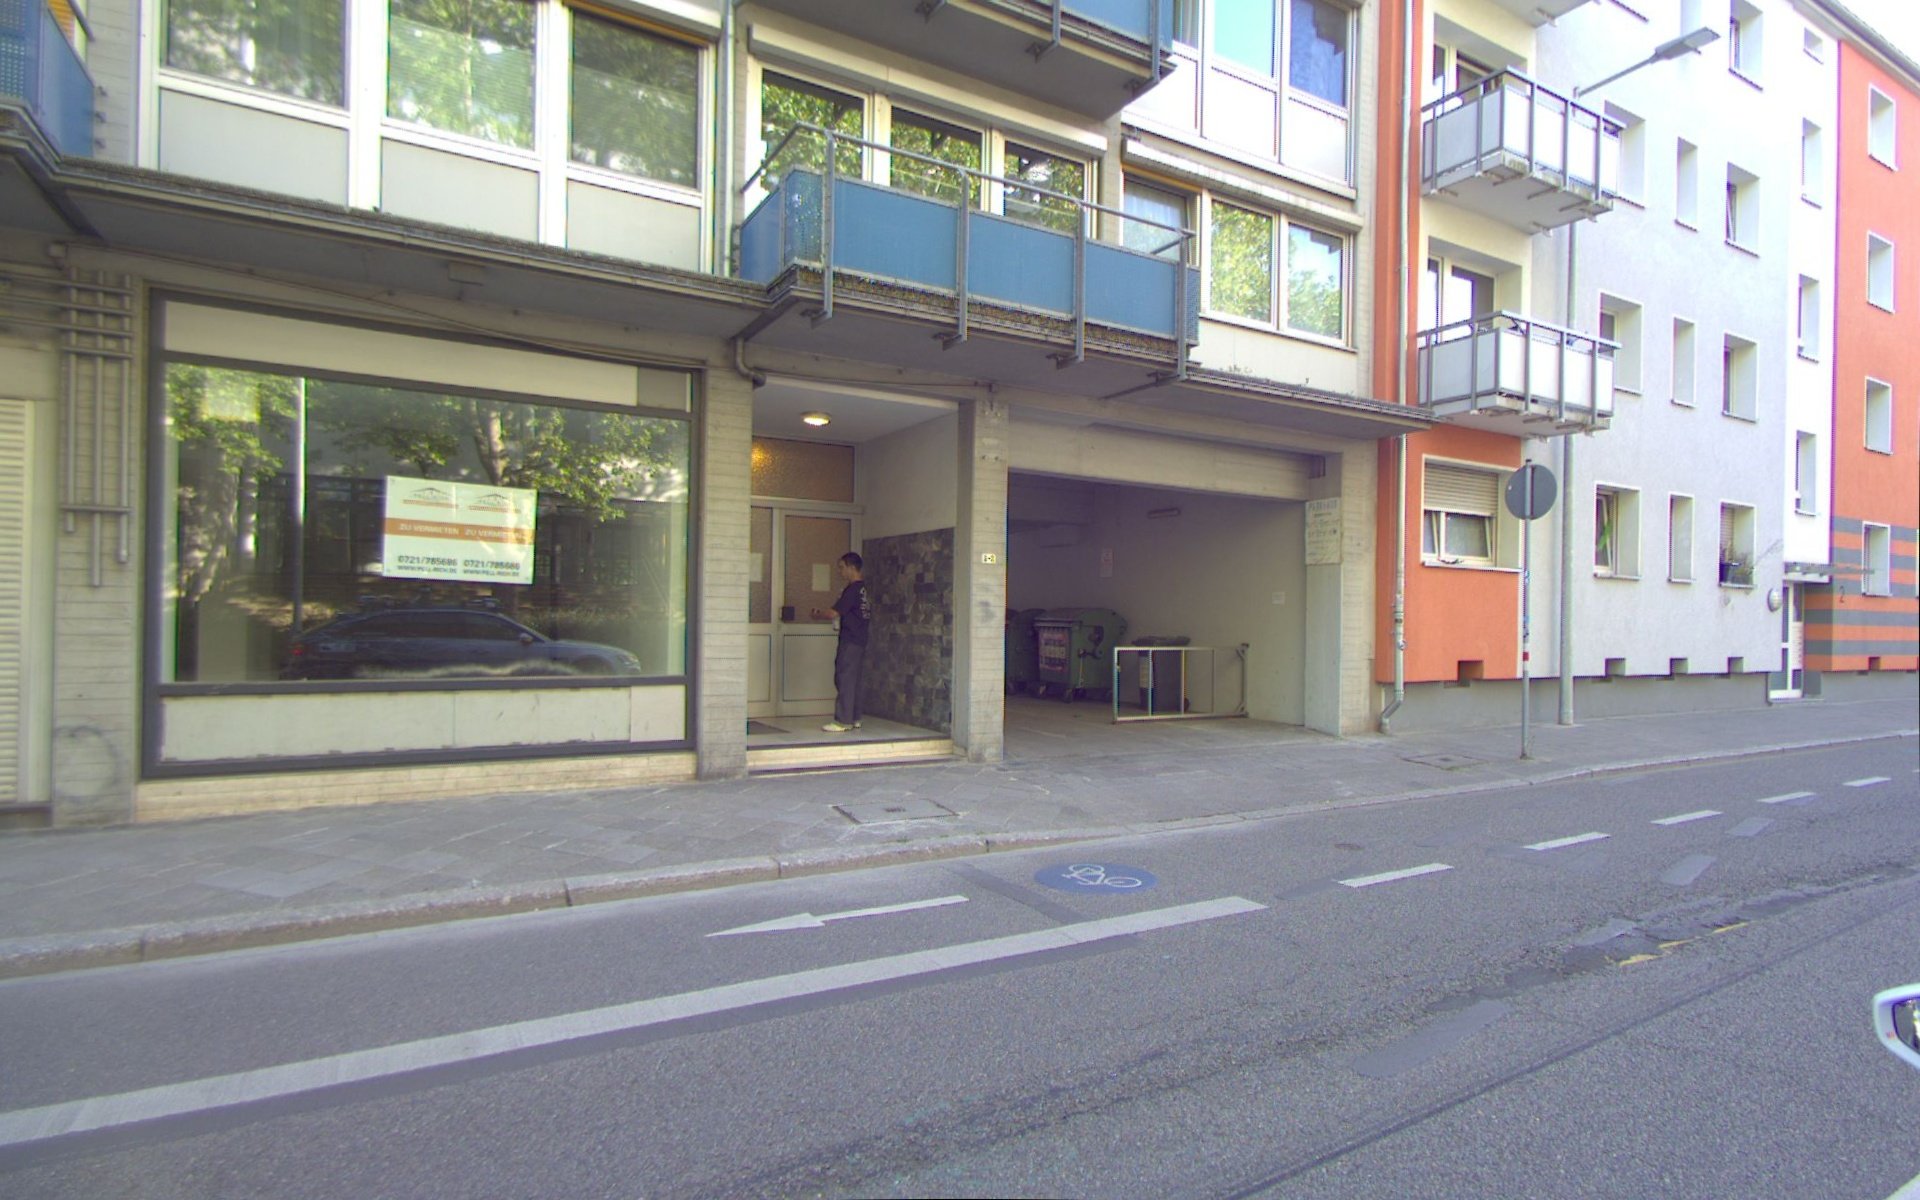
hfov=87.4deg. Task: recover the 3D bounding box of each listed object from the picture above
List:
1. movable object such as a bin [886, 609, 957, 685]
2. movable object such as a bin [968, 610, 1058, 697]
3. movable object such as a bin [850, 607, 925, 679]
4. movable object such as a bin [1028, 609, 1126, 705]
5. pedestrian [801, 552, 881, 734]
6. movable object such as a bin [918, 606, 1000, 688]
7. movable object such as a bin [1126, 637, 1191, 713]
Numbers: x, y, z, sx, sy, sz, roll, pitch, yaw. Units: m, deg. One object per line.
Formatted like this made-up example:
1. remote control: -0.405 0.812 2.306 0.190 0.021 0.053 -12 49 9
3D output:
1. movable object such as a bin: -0.758 0.900 19.666 1.012 1.409 1.046 1 0 -31
2. movable object such as a bin: 0.893 0.885 17.157 1.011 1.409 1.319 1 0 -27
3. movable object such as a bin: -1.498 0.871 20.653 1.014 1.409 1.264 1 0 -37
4. movable object such as a bin: 1.817 0.865 15.825 1.009 1.438 1.321 1 0 -23
5. pedestrian: -1.196 0.423 10.140 0.518 1.764 0.630 1 0 27
6. movable object such as a bin: -0.036 0.845 18.669 1.011 1.462 1.318 1 0 -29
7. movable object such as a bin: 2.862 1.064 14.488 0.704 1.054 0.583 1 0 -30
